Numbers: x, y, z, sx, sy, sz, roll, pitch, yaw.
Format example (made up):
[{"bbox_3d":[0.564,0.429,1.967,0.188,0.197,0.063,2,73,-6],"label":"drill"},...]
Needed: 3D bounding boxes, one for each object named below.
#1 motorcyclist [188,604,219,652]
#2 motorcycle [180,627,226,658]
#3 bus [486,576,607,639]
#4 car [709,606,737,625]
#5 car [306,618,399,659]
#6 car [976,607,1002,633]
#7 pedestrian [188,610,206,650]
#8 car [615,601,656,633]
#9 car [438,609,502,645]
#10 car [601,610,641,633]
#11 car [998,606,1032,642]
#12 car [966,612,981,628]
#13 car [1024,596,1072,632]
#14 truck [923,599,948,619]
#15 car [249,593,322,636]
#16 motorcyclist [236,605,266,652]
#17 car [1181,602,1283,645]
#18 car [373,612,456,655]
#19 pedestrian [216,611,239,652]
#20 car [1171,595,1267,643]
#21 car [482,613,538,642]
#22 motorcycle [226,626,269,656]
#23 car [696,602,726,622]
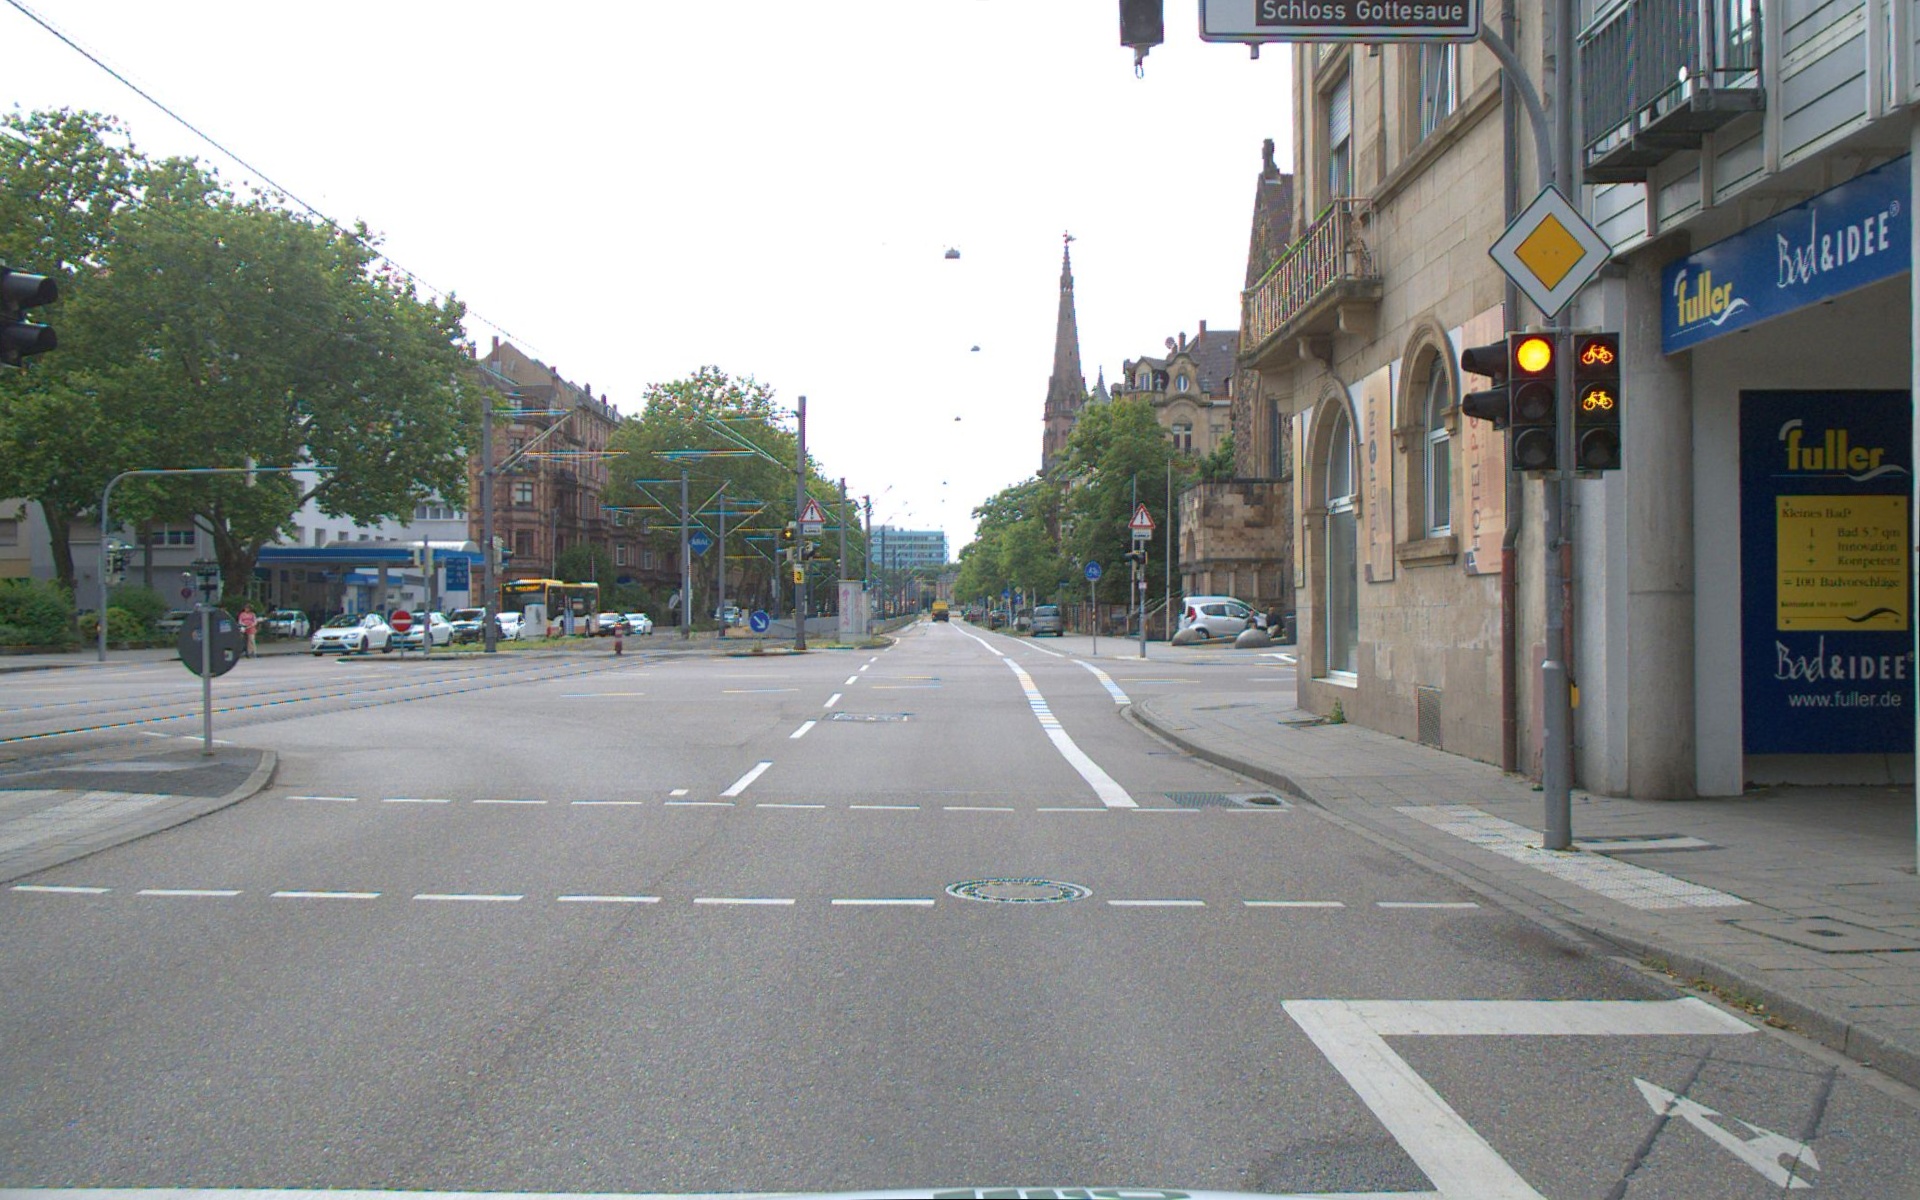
[{"bbox_3d":[-24.730,0.917,54.079,0.607,1.546,0.873,0,0,-1],"label":"motorcyclist"},{"bbox_3d":[-24.732,1.376,54.057,0.594,0.945,1.951,0,0,0],"label":"motorcycle"},{"bbox_3d":[-21.969,0.423,88.746,3.164,3.088,12.312,1,0,1],"label":"bus"},{"bbox_3d":[-21.343,1.385,148.983,1.953,1.639,3.999,1,0,-1],"label":"car"},{"bbox_3d":[-21.438,1.337,58.565,1.711,1.344,4.075,1,0,1],"label":"car"},{"bbox_3d":[2.371,1.625,136.196,1.953,2.049,3.999,1,0,-1],"label":"car"},{"bbox_3d":[-28.711,1.117,62.228,0.466,1.485,0.426,0,0,-1],"label":"pedestrian"},{"bbox_3d":[-21.413,1.138,109.251,1.953,2.049,3.999,1,0,-1],"label":"car"},{"bbox_3d":[-21.225,1.144,71.774,1.622,1.504,3.638,1,0,1],"label":"car"},{"bbox_3d":[-20.865,1.310,101.896,1.622,1.344,3.638,1,0,1],"label":"car"},{"bbox_3d":[3.286,1.418,99.649,1.952,2.049,4.000,1,0,1],"label":"car"},{"bbox_3d":[1.761,2.657,216.816,1.953,2.049,3.999,1,0,-1],"label":"car"},{"bbox_3d":[4.813,0.768,90.040,1.951,1.888,4.030,1,0,12],"label":"car"},{"bbox_3d":[-3.396,1.227,232.527,2.991,2.817,9.818,0,0,3],"label":"truck"},{"bbox_3d":[-32.887,0.702,80.720,1.953,2.049,3.999,0,0,-1],"label":"car"},{"bbox_3d":[-23.539,0.954,54.923,0.607,1.546,0.873,0,0,-1],"label":"motorcyclist"},{"bbox_3d":[10.673,0.922,65.067,3.638,1.591,2.000,1,0,-1],"label":"car"},{"bbox_3d":[-21.425,1.293,65.120,1.953,1.622,3.999,1,0,-1],"label":"car"},{"bbox_3d":[-27.708,1.188,62.597,0.634,1.505,0.557,0,0,-1],"label":"pedestrian"},{"bbox_3d":[10.689,0.791,68.550,3.638,1.888,2.000,1,0,-1],"label":"car"},{"bbox_3d":[-21.381,1.289,78.692,1.622,1.344,3.638,1,0,1],"label":"car"},{"bbox_3d":[-23.518,1.335,54.638,0.594,0.945,1.951,0,0,0],"label":"motorcycle"},{"bbox_3d":[-21.226,1.028,141.174,1.953,1.639,3.999,1,0,-1],"label":"car"}]
